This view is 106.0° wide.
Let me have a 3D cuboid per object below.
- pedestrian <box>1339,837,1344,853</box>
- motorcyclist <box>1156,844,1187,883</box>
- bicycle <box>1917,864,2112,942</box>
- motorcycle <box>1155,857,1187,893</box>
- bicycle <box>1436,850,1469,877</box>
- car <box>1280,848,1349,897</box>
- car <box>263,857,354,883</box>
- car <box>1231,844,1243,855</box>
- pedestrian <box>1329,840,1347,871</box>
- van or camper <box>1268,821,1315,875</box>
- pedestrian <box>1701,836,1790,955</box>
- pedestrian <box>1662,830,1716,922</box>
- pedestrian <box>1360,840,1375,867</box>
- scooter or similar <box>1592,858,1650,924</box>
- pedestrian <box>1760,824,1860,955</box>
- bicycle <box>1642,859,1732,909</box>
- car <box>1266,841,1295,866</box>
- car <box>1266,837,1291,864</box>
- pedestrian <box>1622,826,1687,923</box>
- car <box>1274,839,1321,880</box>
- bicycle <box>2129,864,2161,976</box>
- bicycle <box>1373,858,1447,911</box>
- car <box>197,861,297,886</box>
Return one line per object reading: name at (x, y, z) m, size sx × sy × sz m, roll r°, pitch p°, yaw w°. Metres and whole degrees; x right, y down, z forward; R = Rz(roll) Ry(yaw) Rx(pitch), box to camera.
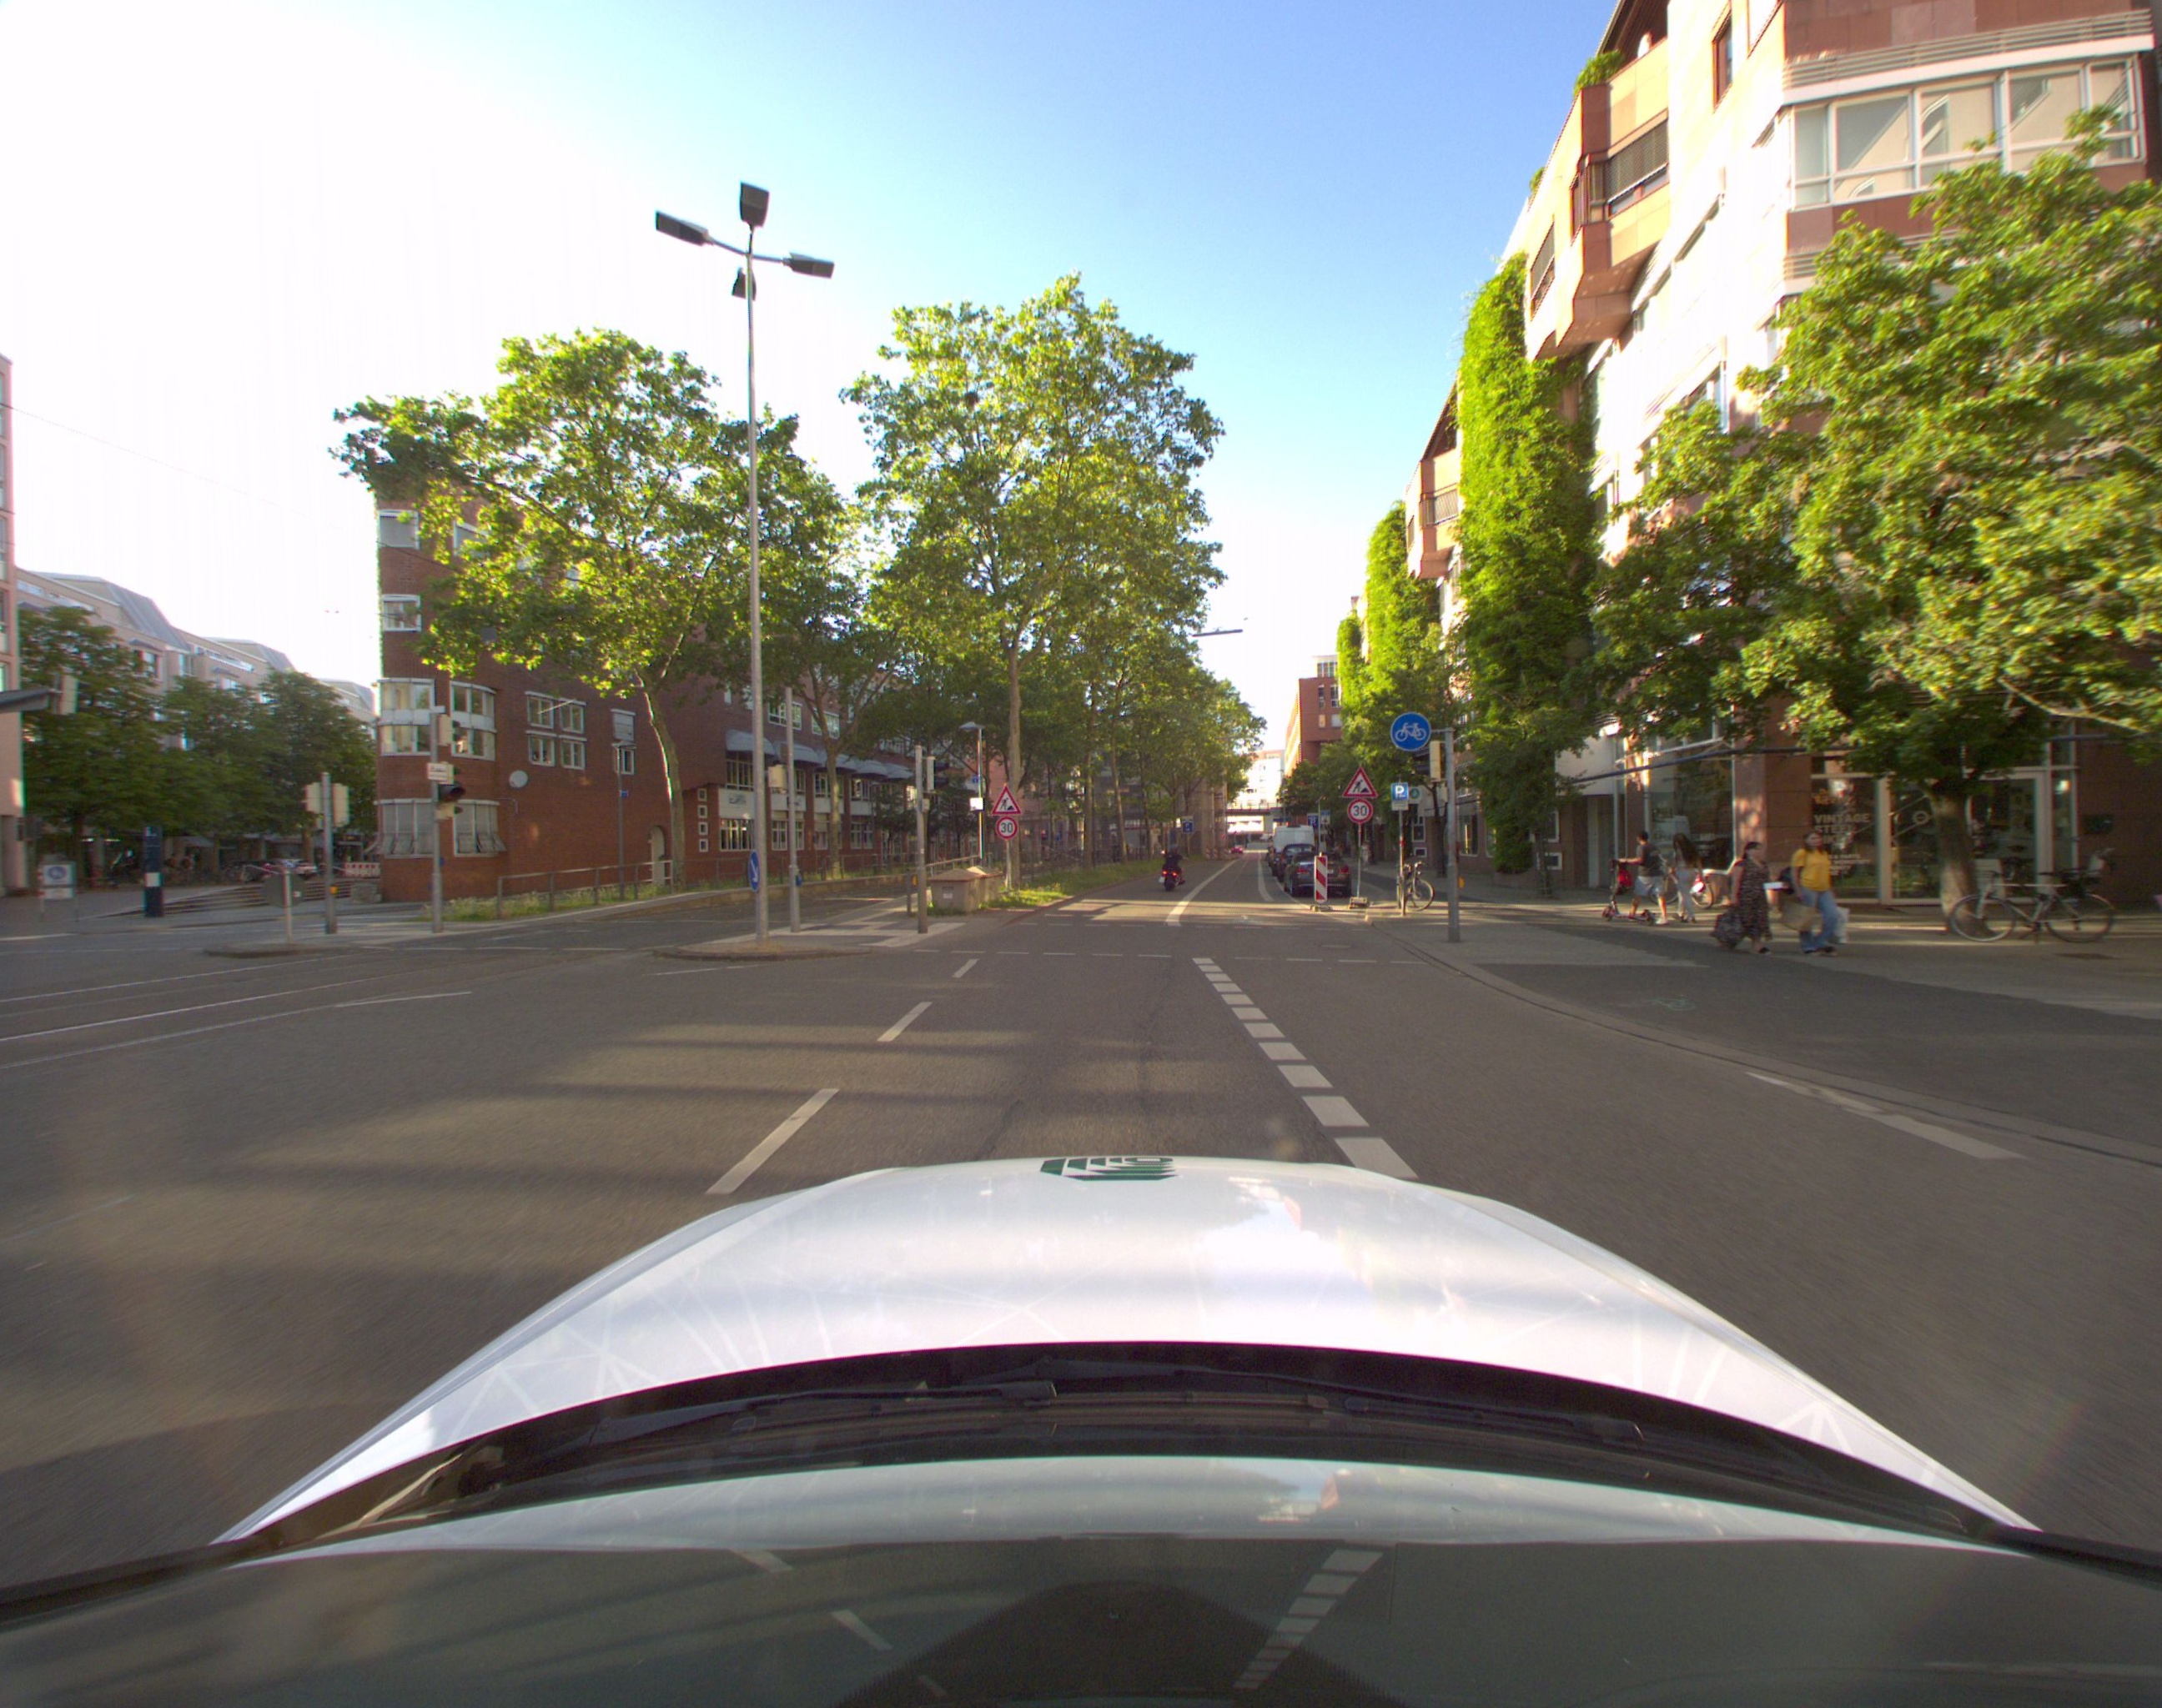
pedestrian at (26.705, -0.889, 83.548) m, size 0.447 × 1.627 × 0.375 m, roll -1°, pitch 0°, yaw 6°
motorcyclist at (3.033, 0.304, 27.317) m, size 1.006 × 1.262 × 0.775 m, roll 1°, pitch 1°, yaw 7°
bicycle at (13.662, 0.687, 11.991) m, size 1.730 × 1.053 × 0.744 m, roll -1°, pitch 1°, yaw 29°
motorcycle at (3.040, 0.697, 27.362) m, size 1.012 × 1.096 × 2.011 m, roll -1°, pitch 1°, yaw 7°
bicycle at (15.010, 0.370, 32.950) m, size 0.614 × 1.020 × 1.916 m, roll -1°, pitch 1°, yaw 4°
car at (7.140, 0.514, 25.239) m, size 1.610 × 1.302 × 4.324 m, roll -1°, pitch 1°, yaw 10°
car at (-52.471, 1.061, 55.432) m, size 1.980 × 1.555 × 4.014 m, roll -1°, pitch 1°, yaw 13°
car at (26.279, -0.714, 137.015) m, size 1.841 × 1.717 × 4.010 m, roll -1°, pitch 1°, yaw 8°
pedestrian at (13.724, 0.076, 43.537) m, size 0.759 × 1.644 × 0.548 m, roll -1°, pitch 0°, yaw 4°
van or camper at (10.690, -0.325, 41.699) m, size 2.035 × 2.540 × 5.792 m, roll -1°, pitch 1°, yaw 12°
pedestrian at (9.180, 0.550, 11.280) m, size 0.641 × 1.578 × 0.749 m, roll -1°, pitch 1°, yaw 5°
pedestrian at (11.354, 0.404, 15.219) m, size 0.459 × 1.672 × 0.678 m, roll -1°, pitch 1°, yaw -8°
pedestrian at (15.661, -0.011, 44.538) m, size 0.759 × 1.445 × 0.784 m, roll 0°, pitch 0°, yaw 21°
scooter or similar at (10.155, 0.670, 15.350) m, size 0.392 × 1.157 × 1.252 m, roll -1°, pitch 1°, yaw 8°
pedestrian at (10.030, 0.464, 11.234) m, size 0.697 × 1.733 × 0.769 m, roll -1°, pitch 1°, yaw 5°
bicycle at (12.737, 0.611, 17.185) m, size 0.733 × 0.939 × 1.755 m, roll -1°, pitch 1°, yaw 6°
car at (13.340, -0.080, 54.565) m, size 1.610 × 1.610 × 3.785 m, roll -1°, pitch 1°, yaw 10°
car at (14.321, -0.273, 58.969) m, size 1.608 × 1.865 × 3.789 m, roll -1°, pitch 1°, yaw 14°
pedestrian at (10.753, 0.368, 15.278) m, size 0.785 × 1.763 × 0.608 m, roll -1°, pitch 1°, yaw -10°
car at (9.171, 0.193, 34.782) m, size 1.610 × 1.619 × 4.499 m, roll -1°, pitch 1°, yaw 11°
bicycle at (12.736, 0.719, 8.946) m, size 1.558 × 1.227 × 0.579 m, roll -1°, pitch 1°, yaw 7°
bicycle at (7.266, 0.651, 18.076) m, size 0.736 × 1.053 × 1.748 m, roll -1°, pitch 1°, yaw -7°
car at (-52.446, 1.190, 51.323) m, size 4.014 × 1.400 × 1.980 m, roll -2°, pitch 1°, yaw -32°
